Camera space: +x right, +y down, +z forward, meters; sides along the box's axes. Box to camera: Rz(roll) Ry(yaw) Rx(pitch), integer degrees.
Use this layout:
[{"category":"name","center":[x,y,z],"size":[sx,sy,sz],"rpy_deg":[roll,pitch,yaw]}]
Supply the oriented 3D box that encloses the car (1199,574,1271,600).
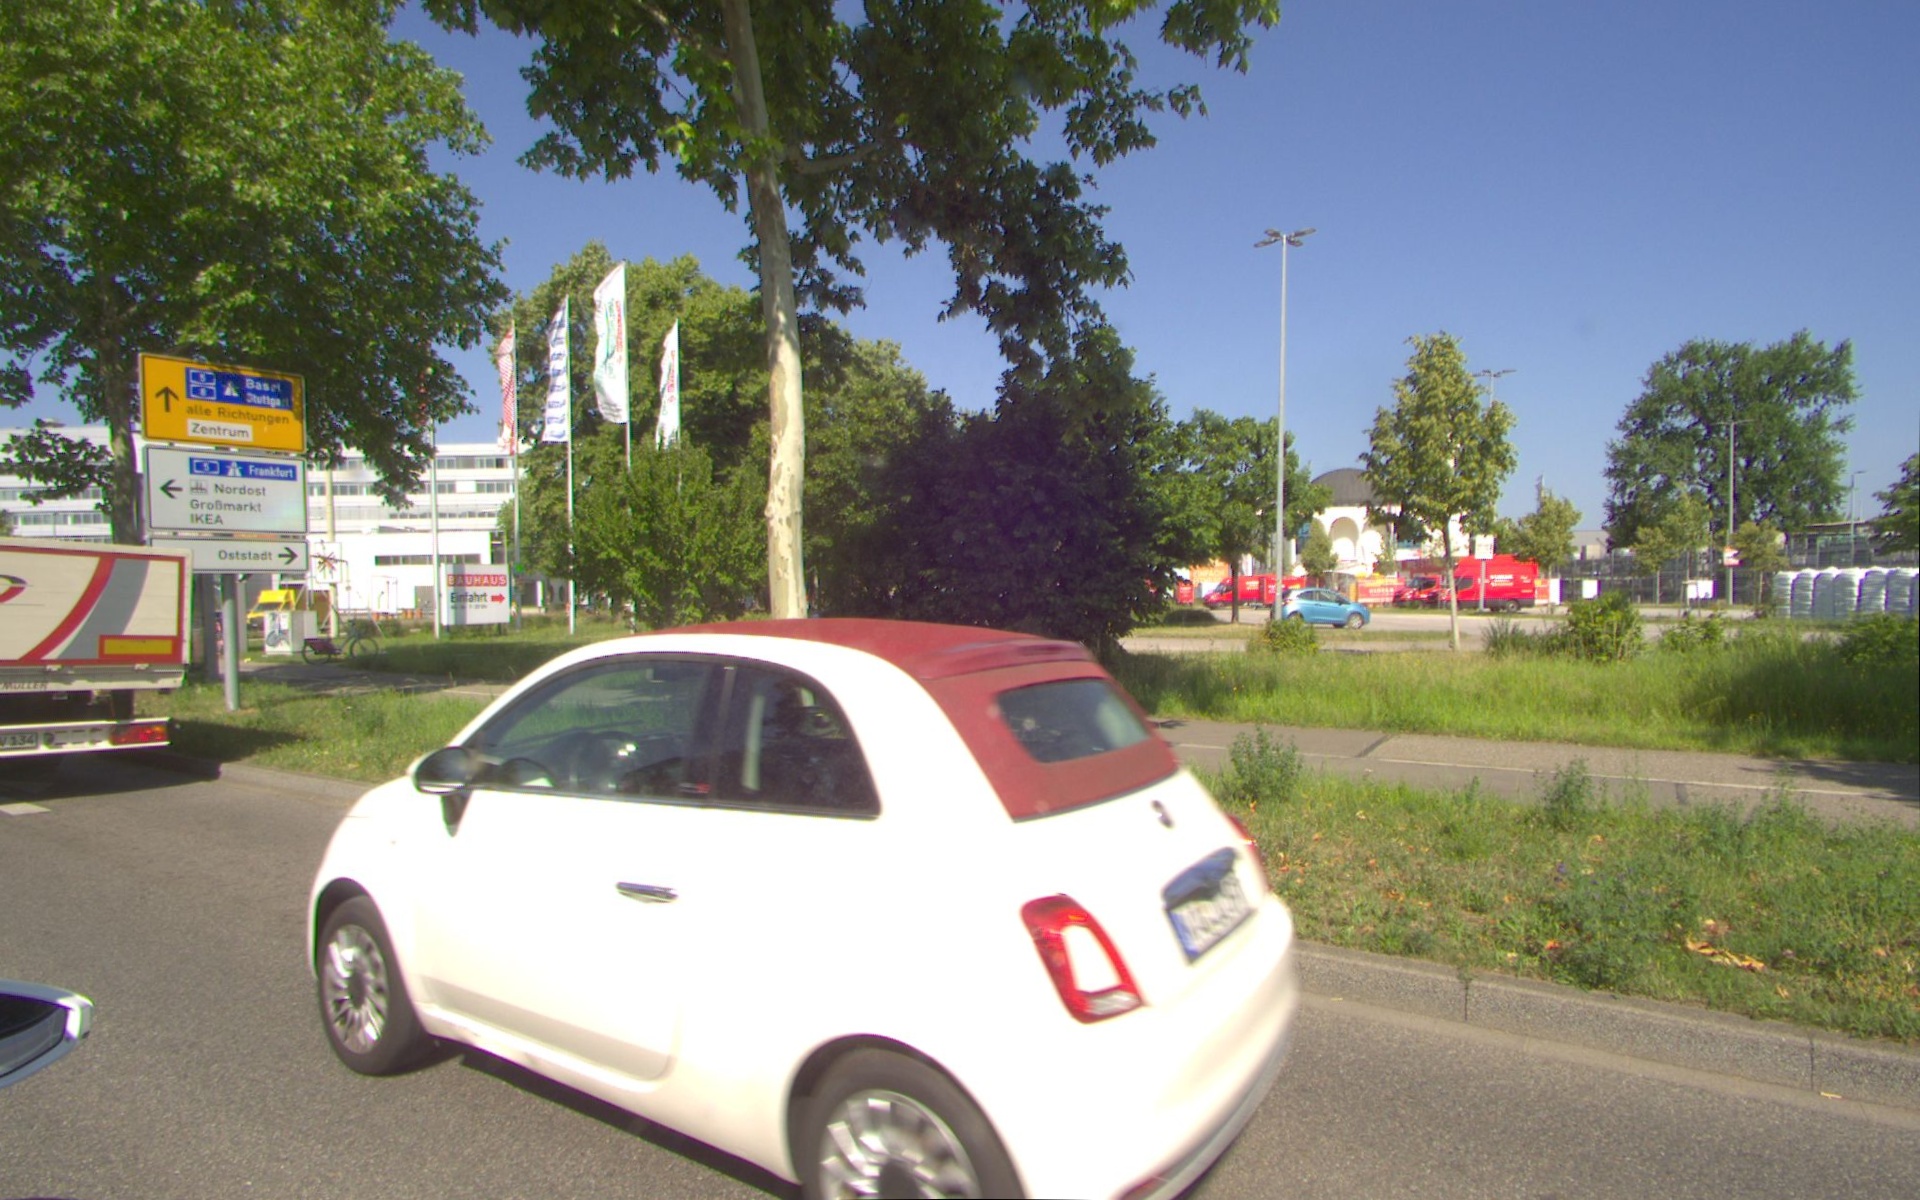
[{"category":"car","center":[22.105,-1.033,80.491],"size":[5.188,2.040,2.000],"rpy_deg":[0,-1,-4]}]

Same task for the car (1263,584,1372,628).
[{"category":"car","center":[13.166,0.231,37.027],"size":[3.387,1.591,1.745],"rpy_deg":[0,-1,-2]}]

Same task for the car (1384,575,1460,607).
[{"category":"car","center":[28.701,-0.539,62.287],"size":[3.924,1.884,1.999],"rpy_deg":[-1,-1,11]}]

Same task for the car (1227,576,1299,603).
[{"category":"car","center":[22.604,-0.759,74.819],"size":[4.824,1.906,1.770],"rpy_deg":[0,-1,2]}]

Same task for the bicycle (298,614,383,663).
[{"category":"bicycle","center":[-16.398,1.004,26.556],"size":[0.625,1.229,1.818],"rpy_deg":[-1,-1,38]}]

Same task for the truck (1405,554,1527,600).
[{"category":"truck","center":[37.606,-1.706,74.505],"size":[8.067,3.290,2.000],"rpy_deg":[0,-1,-2]}]

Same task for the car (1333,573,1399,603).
[{"category":"car","center":[29.076,-0.867,71.805],"size":[3.922,2.040,2.000],"rpy_deg":[0,-1,2]}]

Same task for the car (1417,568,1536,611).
[{"category":"car","center":[30.122,-0.598,58.501],"size":[5.823,2.371,2.115],"rpy_deg":[0,-1,2]}]

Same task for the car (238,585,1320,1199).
[{"category":"car","center":[-0.779,0.745,3.397],"size":[3.472,1.455,1.657],"rpy_deg":[-1,-1,35]}]

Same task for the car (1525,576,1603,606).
[{"category":"car","center":[42.380,-0.601,70.310],"size":[4.304,2.040,2.000],"rpy_deg":[0,-1,-2]}]

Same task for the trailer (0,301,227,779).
[{"category":"trailer","center":[-12.606,-0.370,11.319],"size":[12.070,3.789,3.009],"rpy_deg":[-1,-1,34]}]
